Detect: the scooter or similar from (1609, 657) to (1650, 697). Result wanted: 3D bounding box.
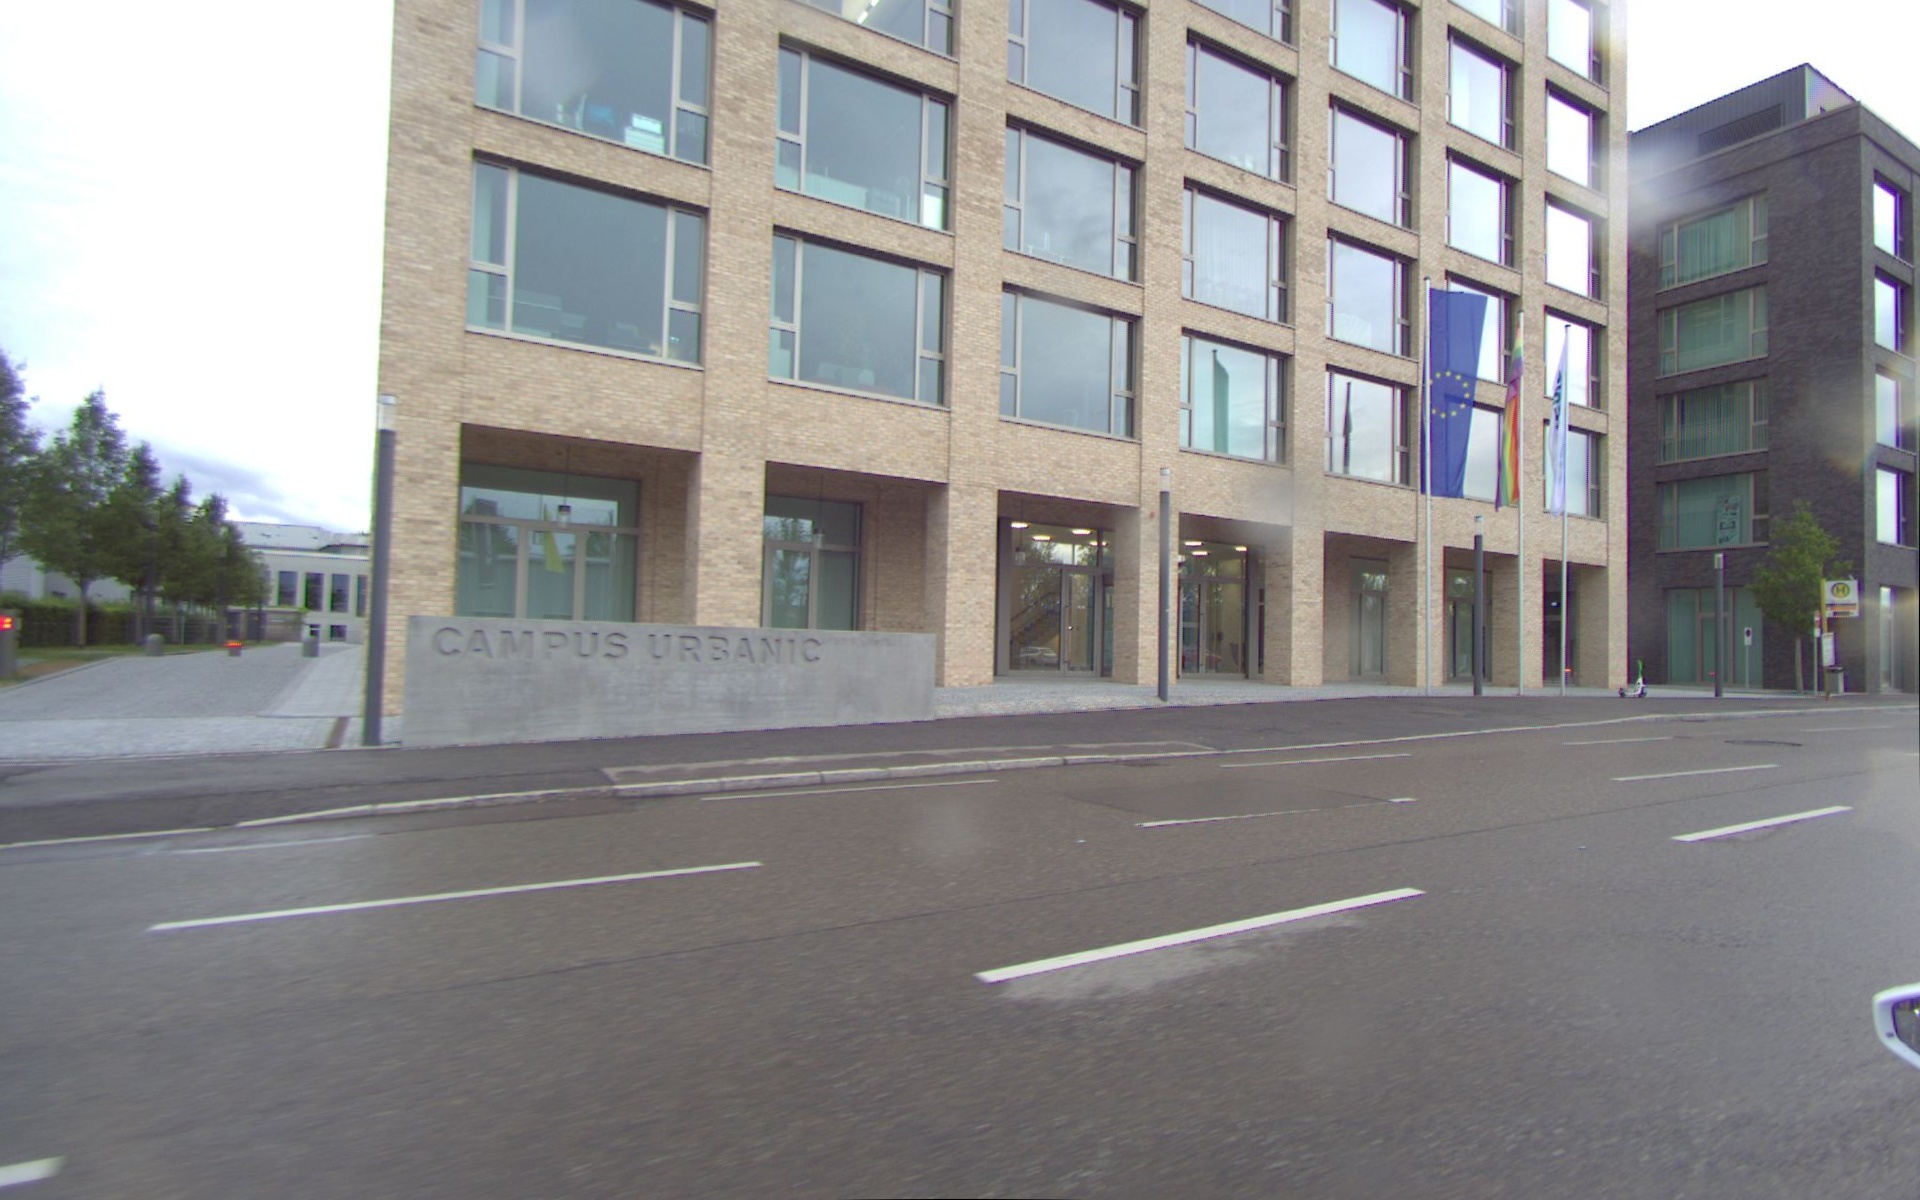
[{"bbox_3d":[18.805,2.155,28.208,1.411,1.085,0.349,3,-2,-30],"label":"scooter or similar"}]
